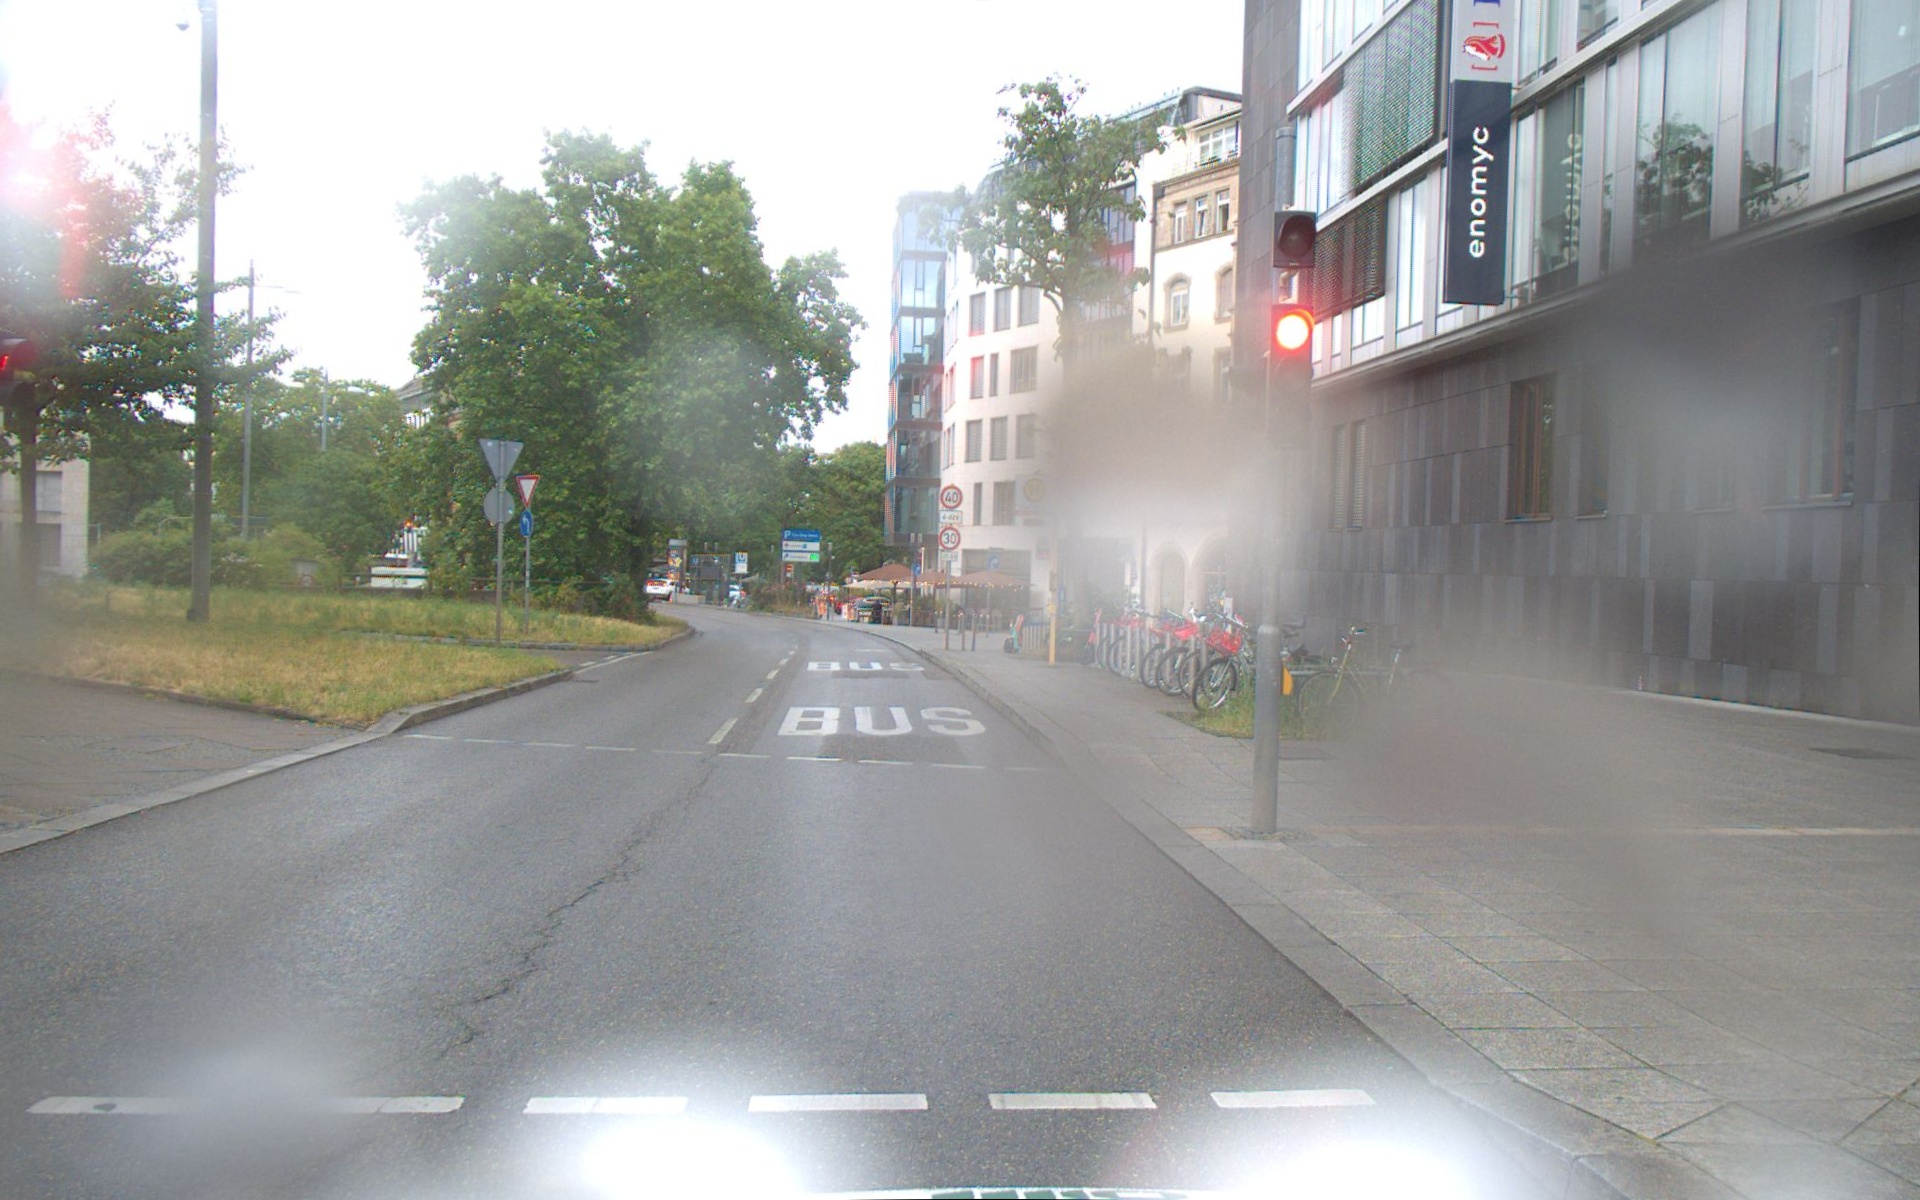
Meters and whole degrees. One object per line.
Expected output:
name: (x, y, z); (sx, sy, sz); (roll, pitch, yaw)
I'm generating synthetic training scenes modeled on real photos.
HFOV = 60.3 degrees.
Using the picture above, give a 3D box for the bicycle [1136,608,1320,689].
bicycle: (3.789, 0.681, 23.451); (2.486, 1.106, 0.677); (1, 0, -6)

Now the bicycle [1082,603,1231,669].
bicycle: (3.419, 0.622, 28.848); (2.486, 1.106, 0.677); (1, 0, -6)

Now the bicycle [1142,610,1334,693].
bicycle: (3.774, 0.699, 22.541); (2.486, 1.078, 0.677); (1, 0, -6)

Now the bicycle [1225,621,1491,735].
bicycle: (3.959, 0.772, 16.506); (2.487, 1.075, 0.677); (1, 0, -6)

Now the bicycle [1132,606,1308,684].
bicycle: (3.862, 0.663, 24.648); (2.486, 1.106, 0.677); (1, 0, -6)

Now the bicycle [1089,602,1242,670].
bicycle: (3.476, 0.613, 28.101); (2.486, 1.106, 0.677); (1, 0, -6)

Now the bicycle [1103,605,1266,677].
bicycle: (3.588, 0.649, 26.462); (2.486, 1.106, 0.677); (1, 0, -6)

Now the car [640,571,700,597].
car: (-20.708, -1.119, 118.362); (2.139, 1.730, 3.991); (2, 0, 30)

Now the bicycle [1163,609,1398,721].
bicycle: (3.627, 0.729, 18.782); (2.487, 1.106, 0.677); (3, 0, -6)

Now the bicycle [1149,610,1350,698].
bicycle: (3.781, 0.700, 21.675); (2.486, 1.106, 0.677); (1, 0, -6)

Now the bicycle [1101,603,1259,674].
bicycle: (3.611, 0.630, 27.214); (2.486, 1.106, 0.677); (1, 0, -6)

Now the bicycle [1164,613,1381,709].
bicycle: (3.764, 0.730, 20.009); (2.486, 1.106, 0.677); (1, 0, -6)

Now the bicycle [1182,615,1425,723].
bicycle: (3.714, 0.741, 17.980); (2.487, 1.106, 0.677); (1, 0, -6)

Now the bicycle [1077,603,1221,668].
bicycle: (3.373, 0.628, 29.569); (2.486, 1.106, 0.627); (1, 0, -6)

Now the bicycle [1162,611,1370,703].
bicycle: (3.849, 0.709, 20.866); (2.486, 1.106, 0.677); (1, 0, -6)

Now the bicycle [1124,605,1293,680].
bicycle: (3.836, 0.658, 25.626); (2.486, 1.106, 0.677); (1, 0, -6)
